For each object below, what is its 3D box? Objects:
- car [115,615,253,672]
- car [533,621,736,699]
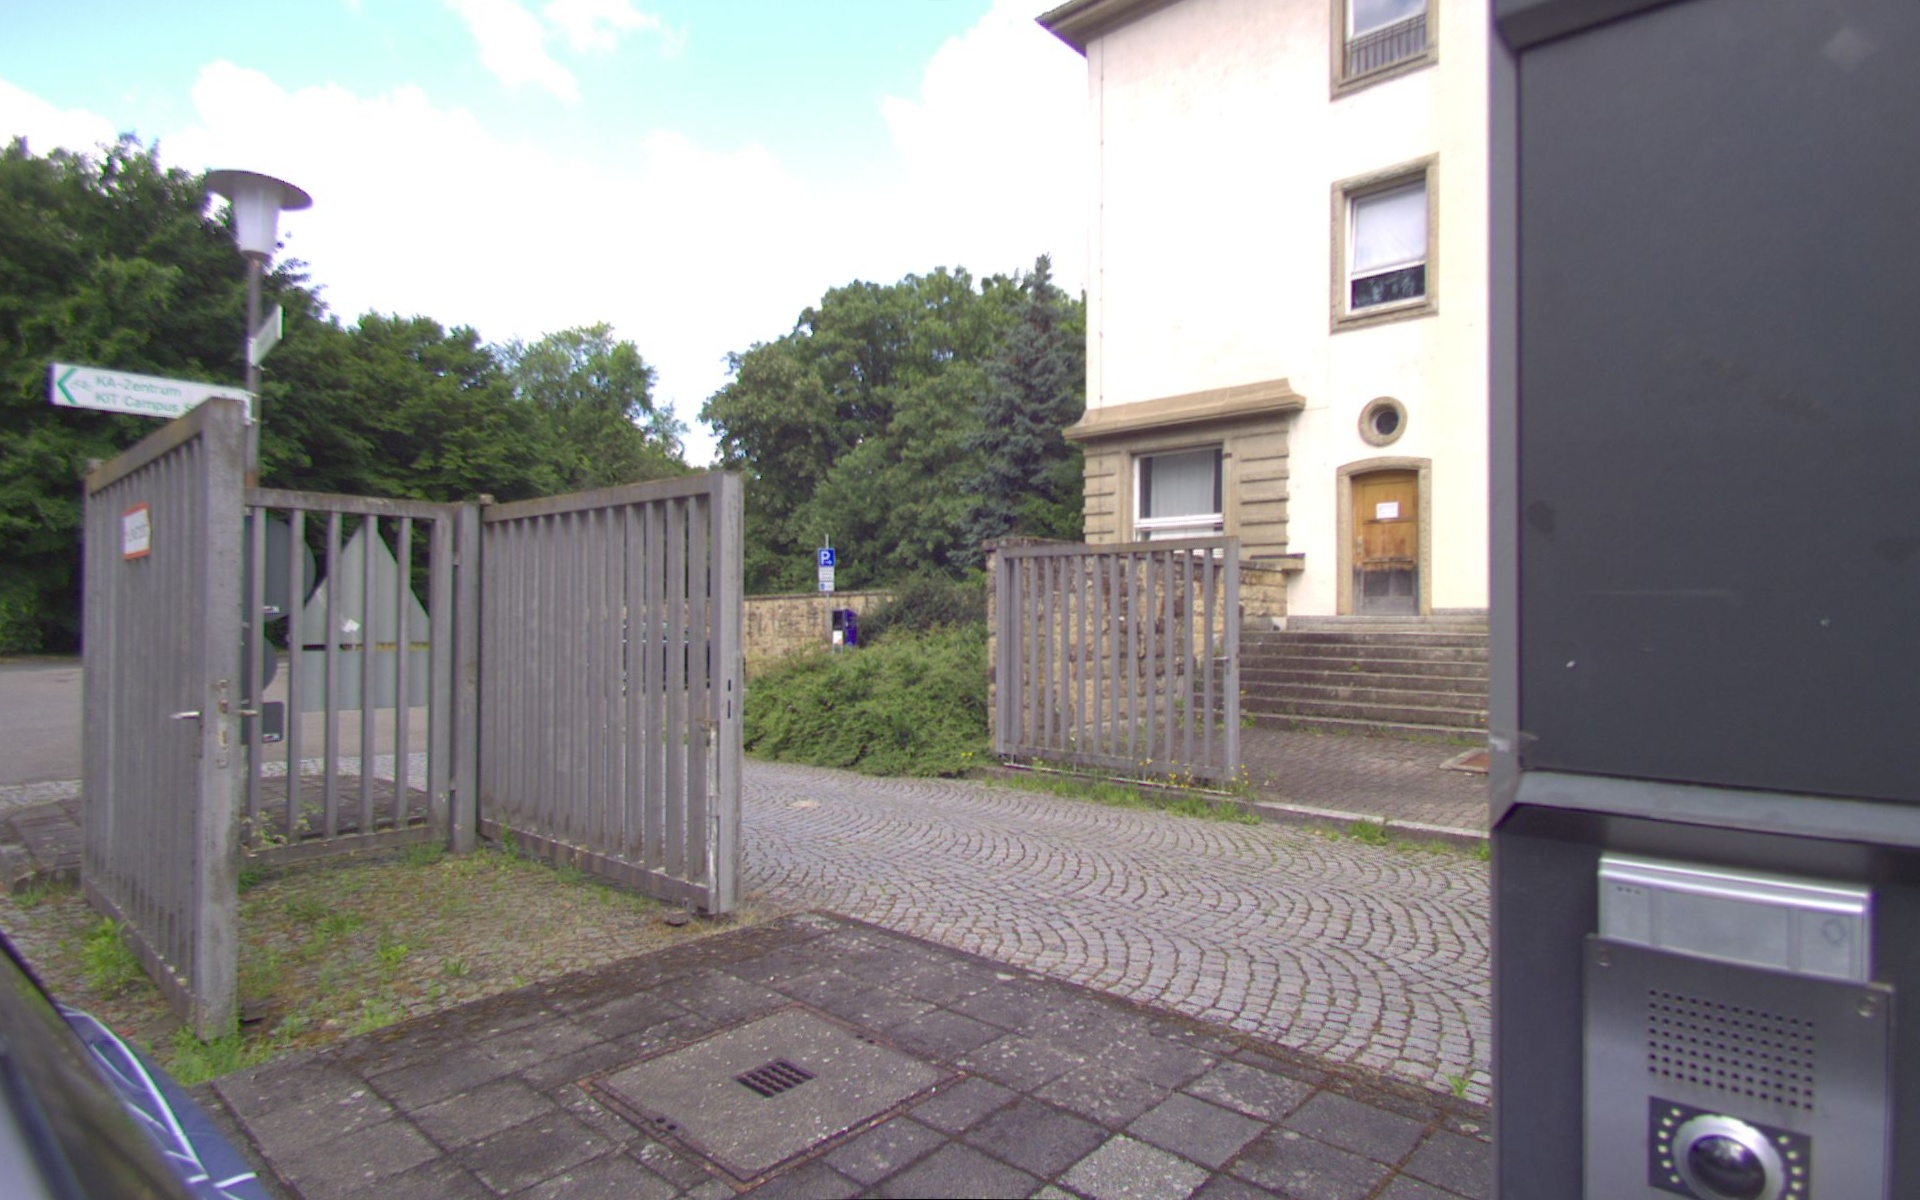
[{"bbox_3d":[-26.187,1.413,34.350,1.839,1.772,4.155,2,-1,-7],"label":"car"},{"bbox_3d":[-7.203,1.261,22.610,3.939,1.529,1.804,0,-1,-43],"label":"car"}]
